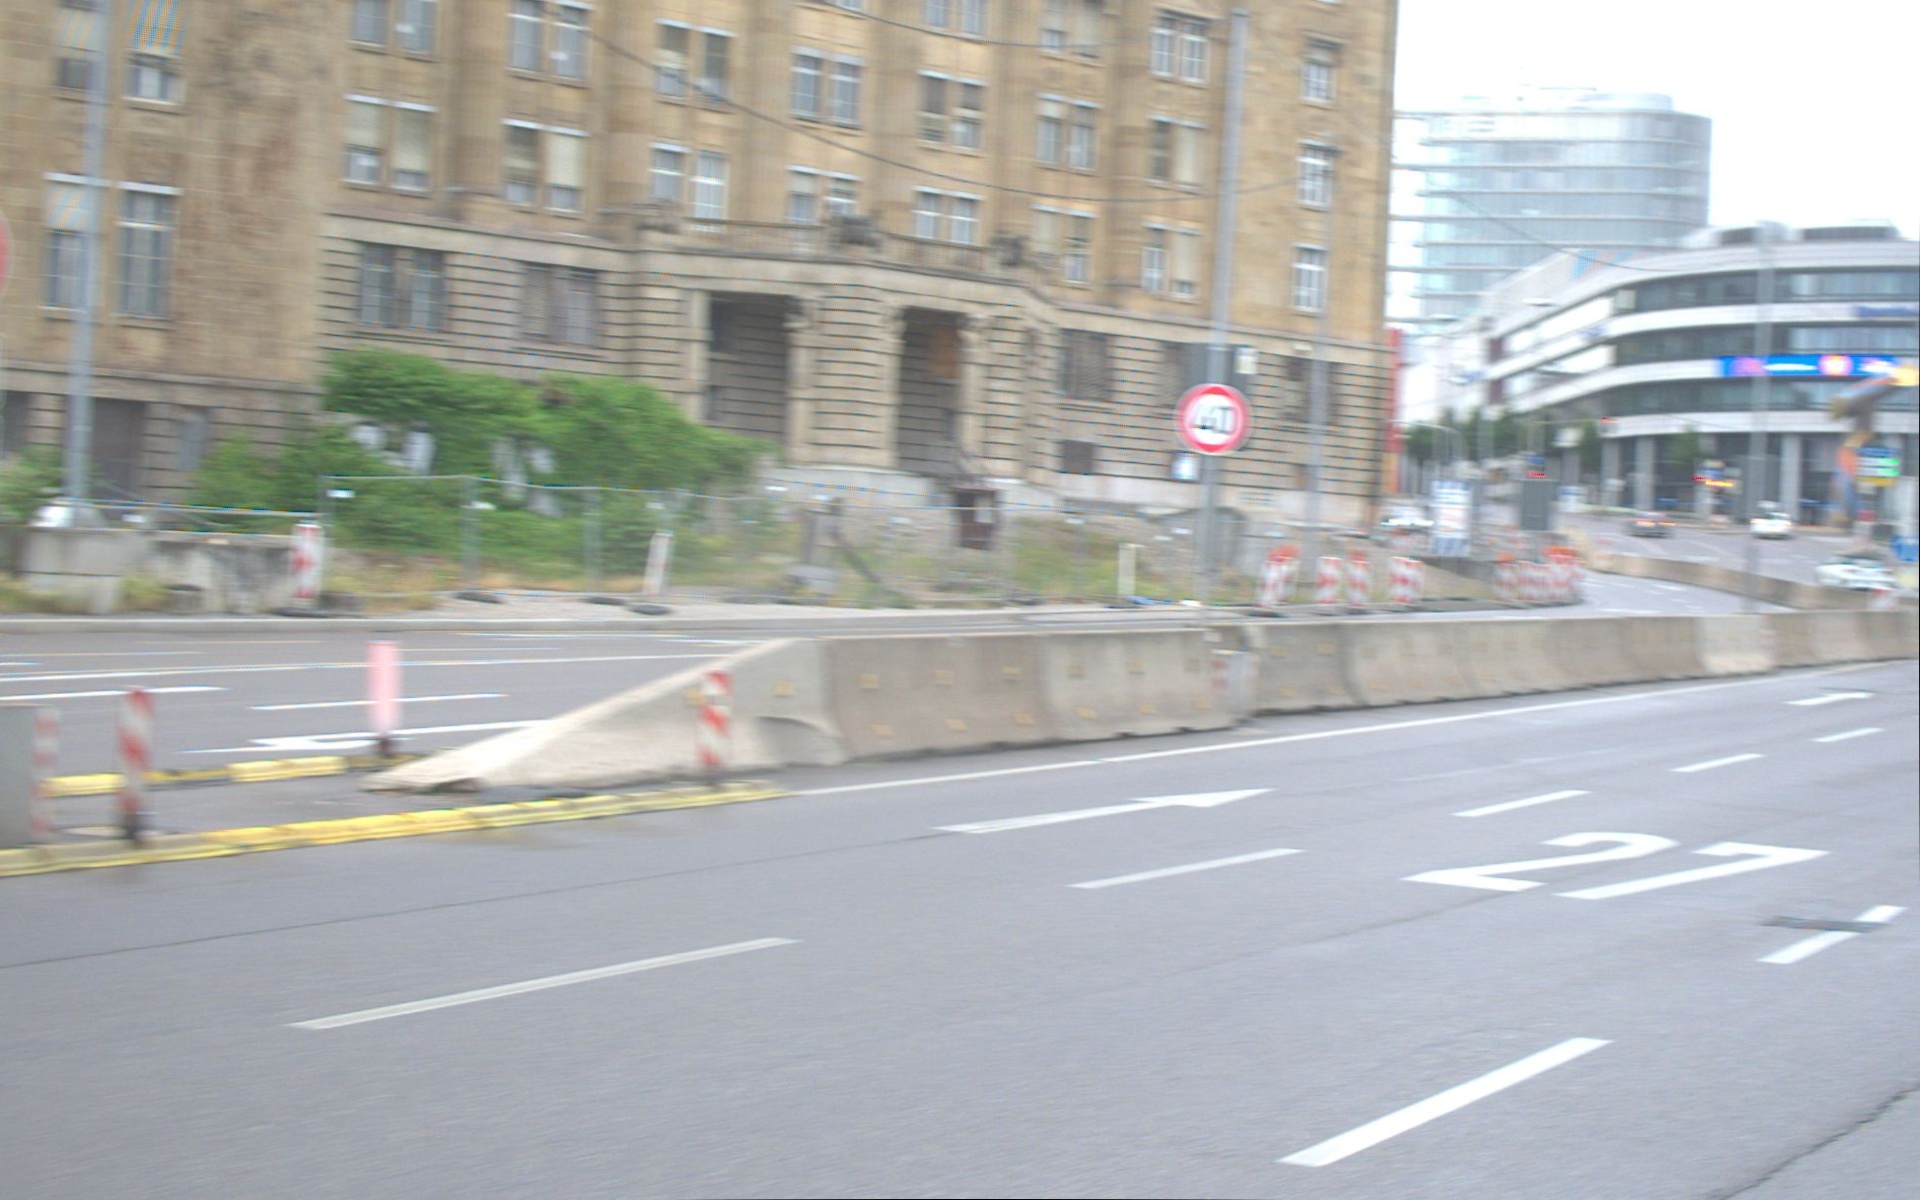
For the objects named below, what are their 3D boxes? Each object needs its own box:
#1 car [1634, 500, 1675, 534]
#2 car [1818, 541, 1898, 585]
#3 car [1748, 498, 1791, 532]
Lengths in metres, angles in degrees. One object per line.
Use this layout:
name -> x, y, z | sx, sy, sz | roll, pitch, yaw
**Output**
car -> 39.048, -4.676, 193.389 | 1.994, 1.798, 4.264 | 3, 2, 9
car -> 32.926, -1.378, 126.095 | 1.741, 1.501, 3.754 | 3, 1, -2
car -> 45.920, -4.843, 195.169 | 1.994, 1.798, 4.264 | 3, 2, 9
